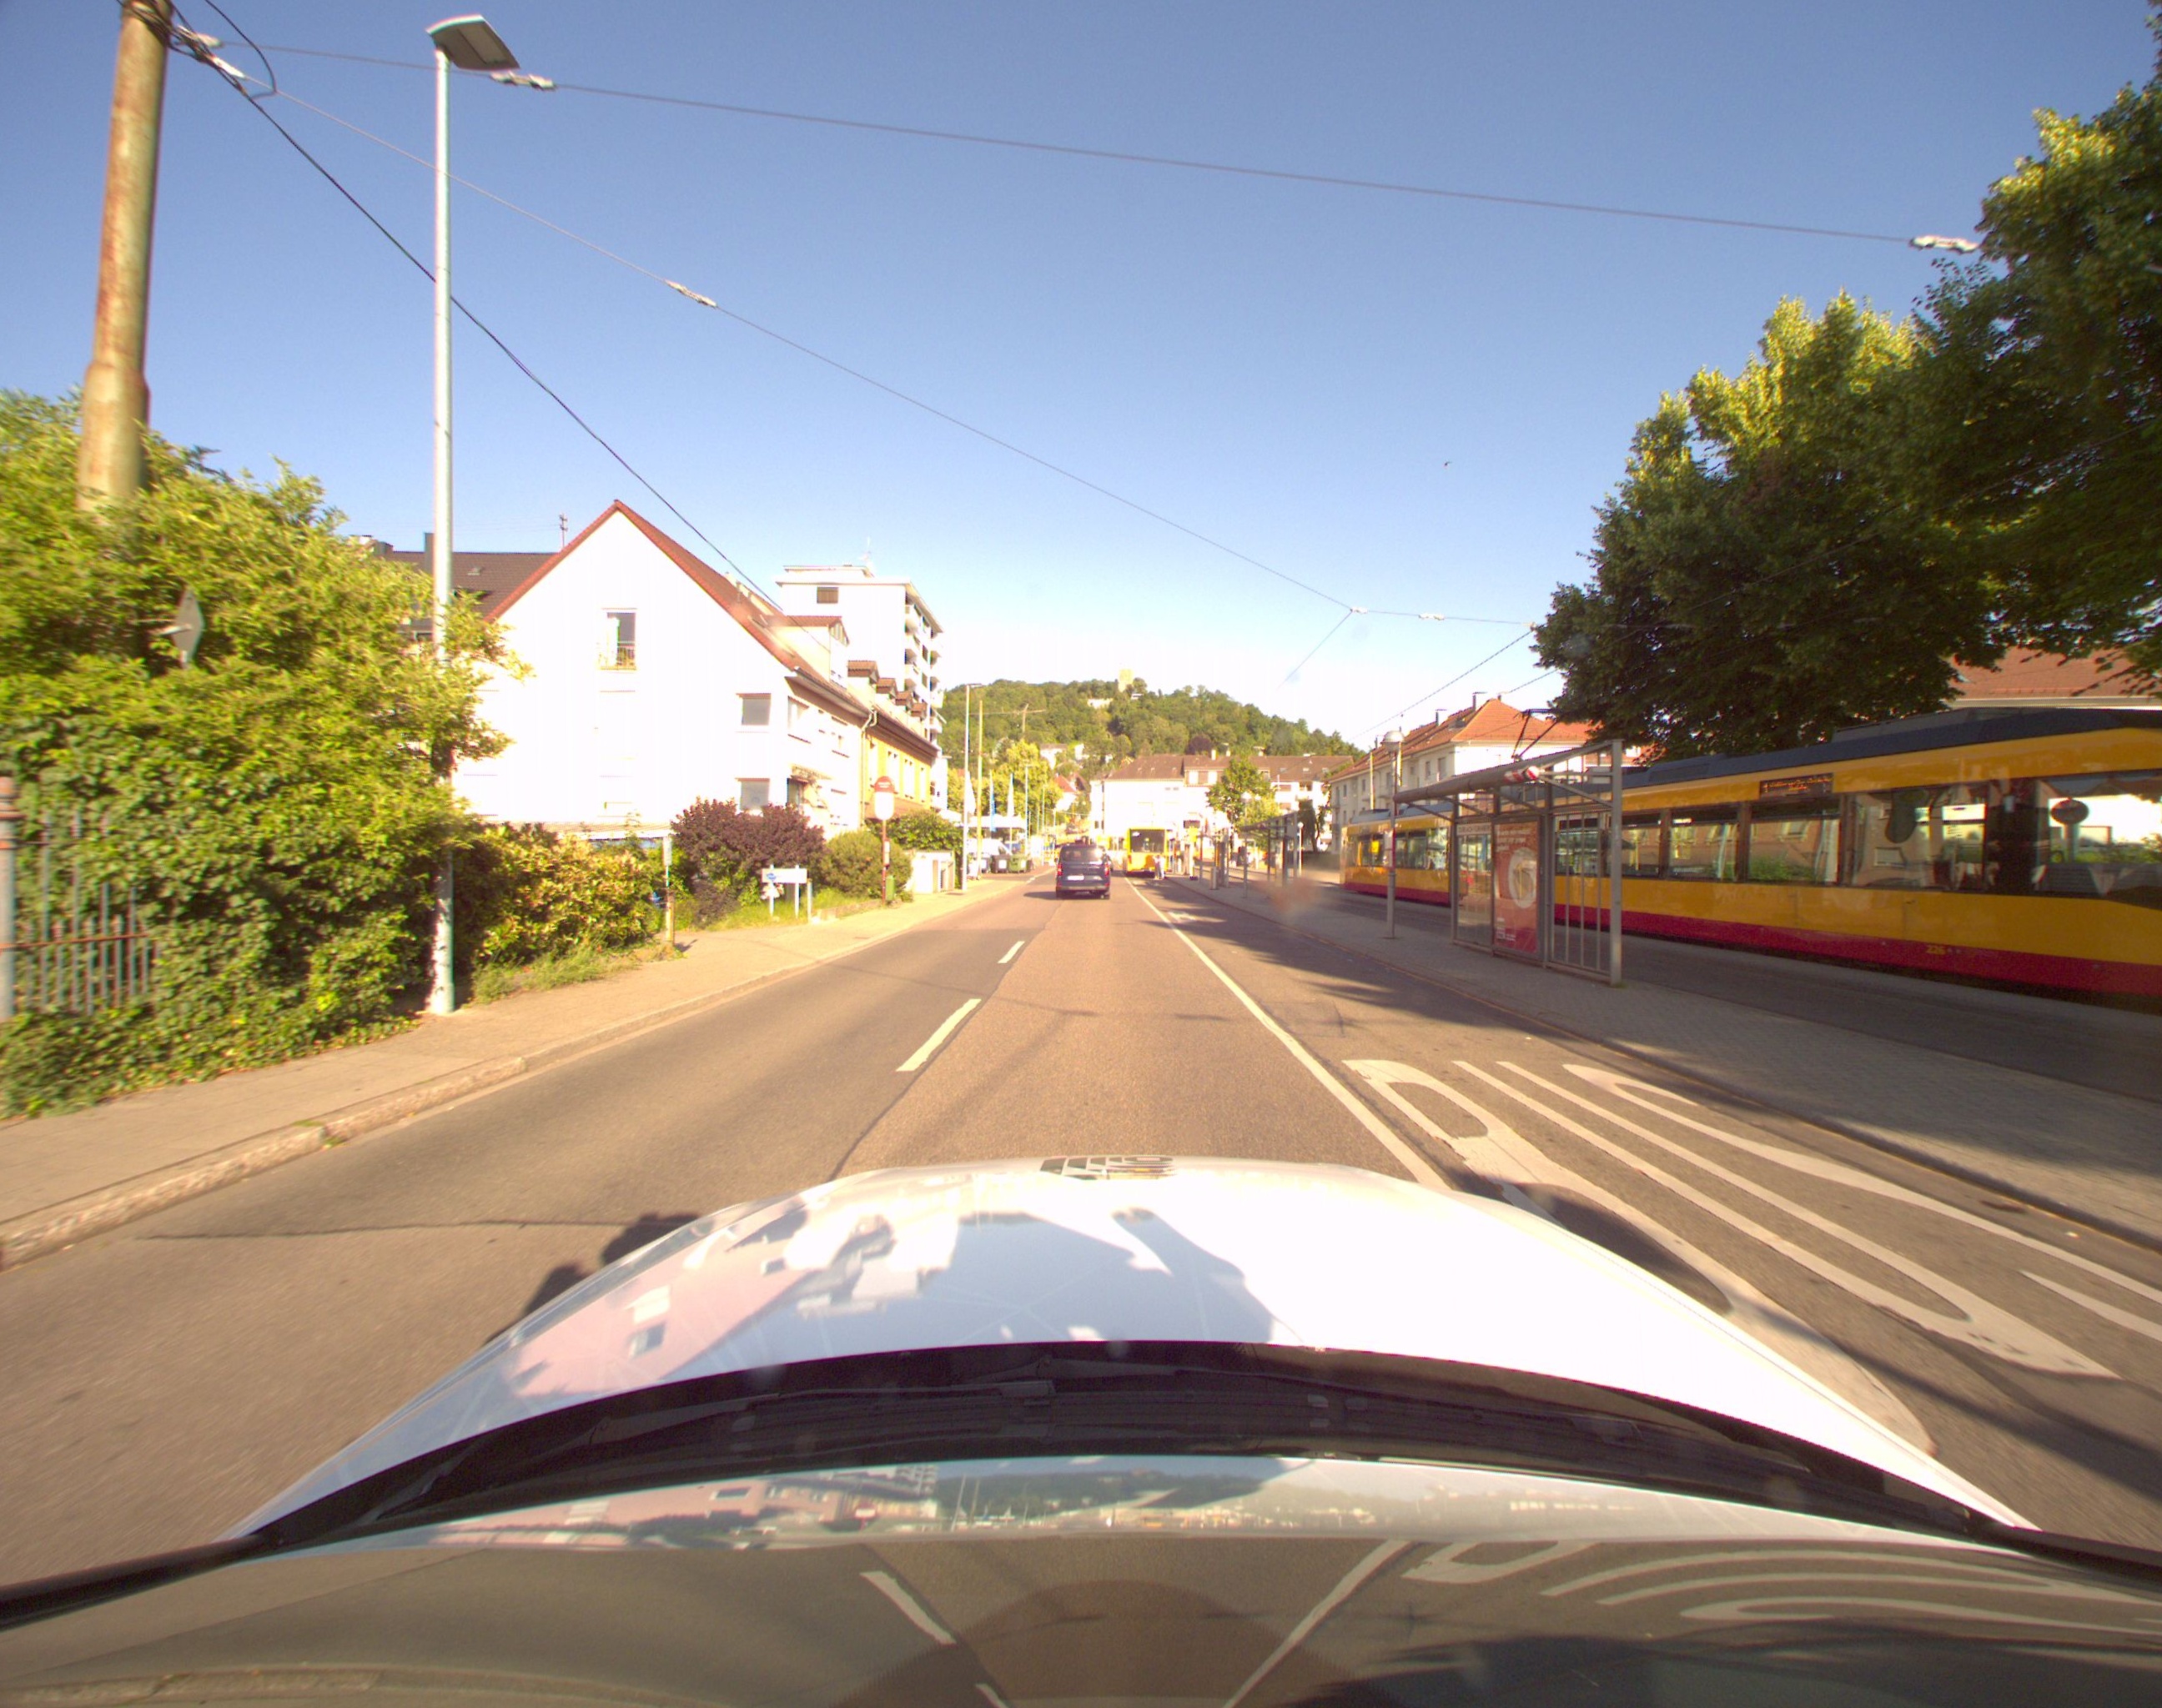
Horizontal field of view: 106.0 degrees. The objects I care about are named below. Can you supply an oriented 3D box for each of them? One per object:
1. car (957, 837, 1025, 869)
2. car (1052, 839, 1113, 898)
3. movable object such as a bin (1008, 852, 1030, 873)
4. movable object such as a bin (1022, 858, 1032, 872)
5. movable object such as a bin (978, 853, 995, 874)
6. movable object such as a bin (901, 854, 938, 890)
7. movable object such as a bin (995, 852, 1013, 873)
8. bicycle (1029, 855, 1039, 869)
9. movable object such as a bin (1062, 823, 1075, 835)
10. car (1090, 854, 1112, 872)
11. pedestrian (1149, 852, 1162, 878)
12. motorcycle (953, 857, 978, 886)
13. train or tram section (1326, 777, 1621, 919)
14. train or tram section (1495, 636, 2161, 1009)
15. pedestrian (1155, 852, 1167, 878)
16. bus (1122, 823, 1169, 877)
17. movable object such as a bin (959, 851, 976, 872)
[{"bbox_3d":[-7.311,-0.070,65.904,5.073,2.469,2.094,1,0,-21],"label":"car"},{"bbox_3d":[0.123,0.519,30.912,2.054,2.013,5.001,-2,0,1],"label":"car"},{"bbox_3d":[-4.678,0.648,61.585,1.045,1.482,1.321,2,4,30],"label":"movable object such as a bin"},{"bbox_3d":[-4.164,0.837,62.822,0.655,1.062,0.587,3,2,13],"label":"movable object such as a bin"},{"bbox_3d":[-7.003,0.695,60.359,1.215,1.482,0.703,0,3,-4],"label":"movable object such as a bin"},{"bbox_3d":[-6.496,0.722,32.827,1.304,1.430,0.991,0,0,-3],"label":"movable object such as a bin"},{"bbox_3d":[-5.735,0.640,60.608,1.225,1.482,0.698,-1,4,-28],"label":"movable object such as a bin"},{"bbox_3d":[-3.950,0.680,68.385,0.722,1.178,1.776,0,0,-8],"label":"bicycle"},{"bbox_3d":[-3.076,-5.952,193.960,2.176,2.690,4.014,0,0,13],"label":"movable object such as a bin"},{"bbox_3d":[1.643,0.738,67.449,1.788,1.409,4.001,1,0,1],"label":"car"},{"bbox_3d":[4.598,0.680,50.259,0.548,1.613,0.629,0,0,-36],"label":"pedestrian"},{"bbox_3d":[-5.323,0.792,37.592,0.837,1.282,2.231,1,0,-1],"label":"motorcycle"},{"bbox_3d":[12.253,-0.060,28.435,2.946,3.534,15.973,-1,-1,1],"label":"train or tram section"},{"bbox_3d":[11.871,-0.231,13.976,2.946,3.534,13.467,-1,-1,1],"label":"train or tram section"},{"bbox_3d":[4.888,0.671,49.857,0.548,1.613,0.544,0,0,-36],"label":"pedestrian"},{"bbox_3d":[4.403,-0.308,57.509,2.678,3.416,12.023,0,1,2],"label":"bus"},{"bbox_3d":[-8.414,0.567,60.262,1.175,1.482,0.703,0,3,-4],"label":"movable object such as a bin"}]
